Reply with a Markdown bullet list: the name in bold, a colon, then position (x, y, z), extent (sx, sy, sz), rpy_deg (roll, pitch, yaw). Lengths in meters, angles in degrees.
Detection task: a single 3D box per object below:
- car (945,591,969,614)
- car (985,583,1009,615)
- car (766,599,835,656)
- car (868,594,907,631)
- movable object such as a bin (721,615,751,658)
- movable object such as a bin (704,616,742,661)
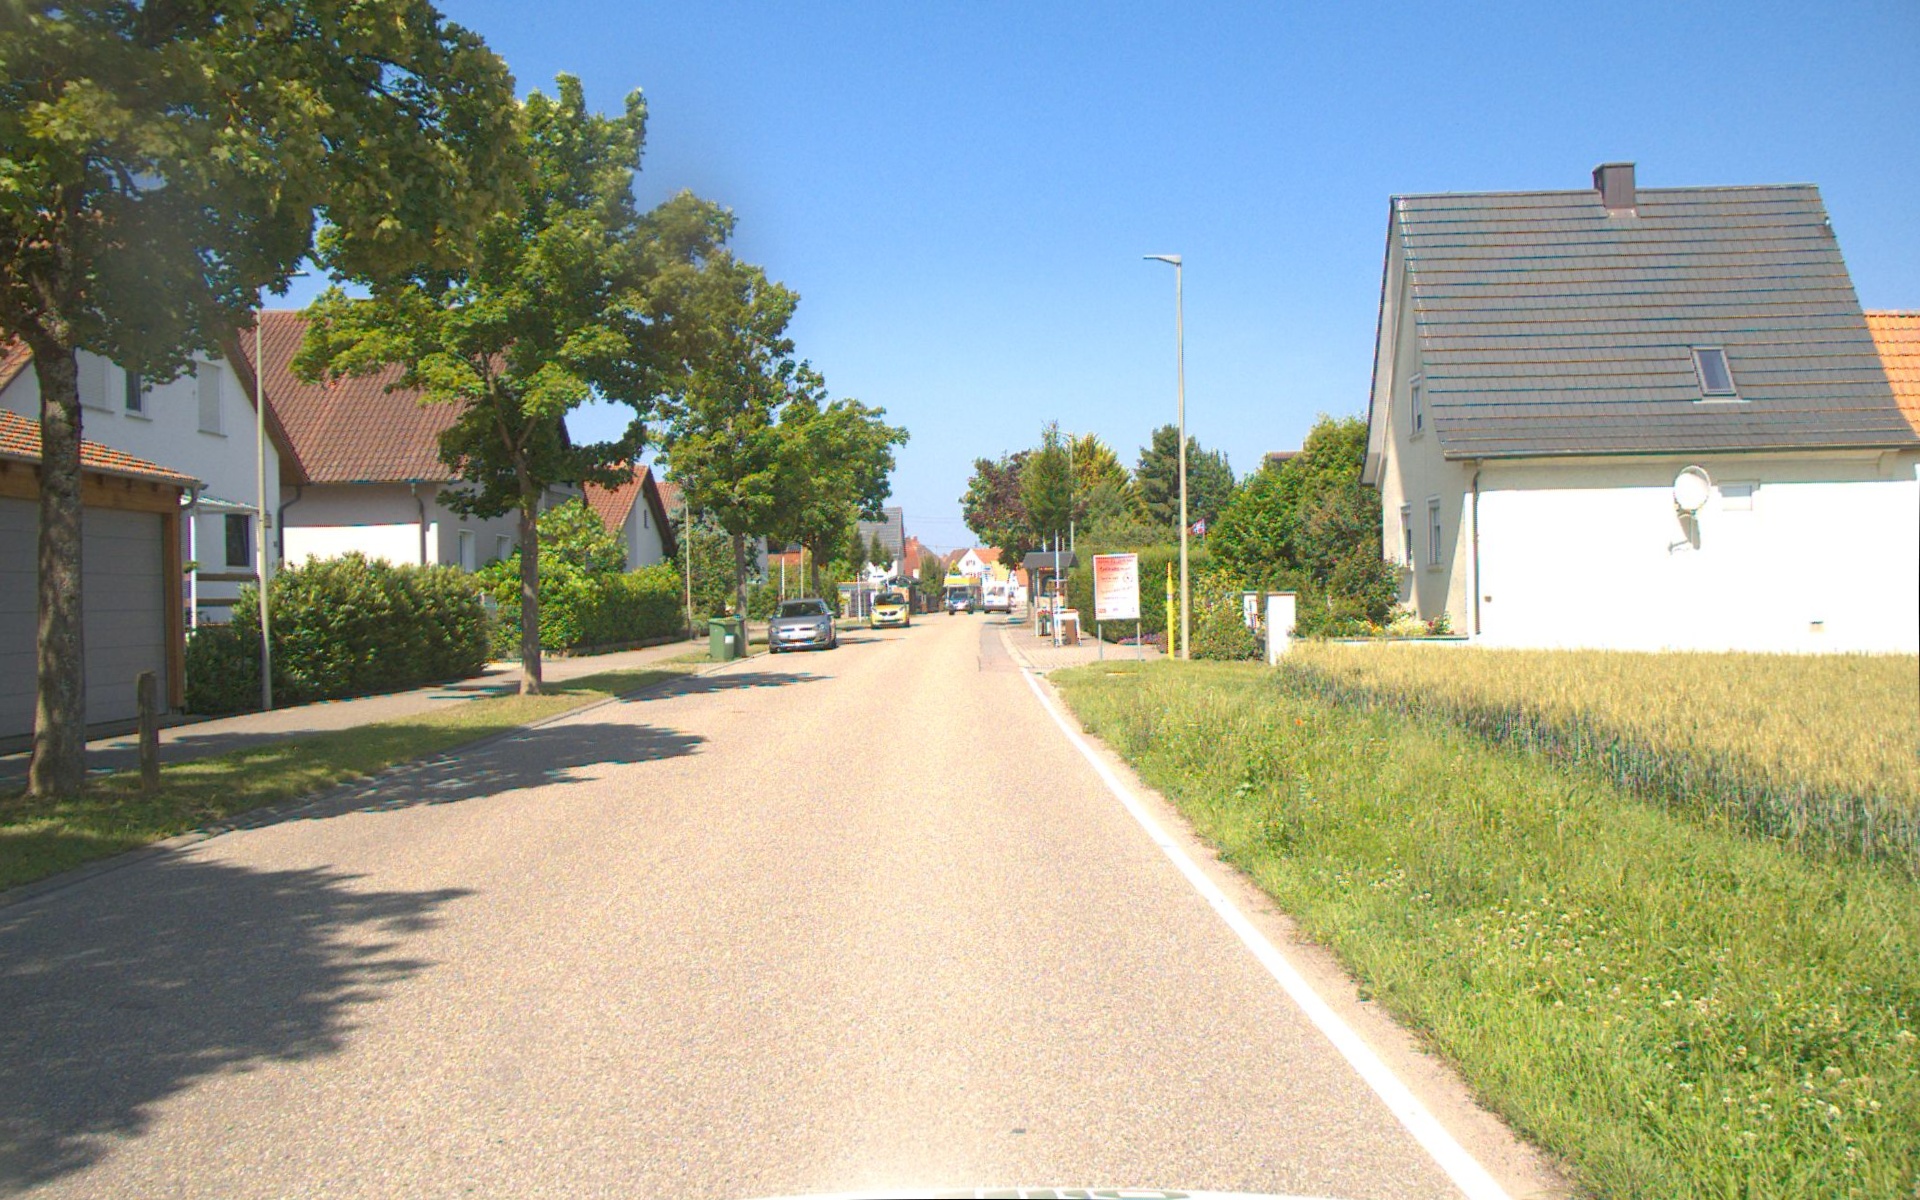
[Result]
- **car**: position (-0.234, 0.202, 133.728), extent (1.798, 1.783, 3.795), rpy_deg (-2, 0, -2)
- **car**: position (2.930, -0.109, 131.542), extent (1.702, 2.474, 4.374), rpy_deg (-2, 0, 0)
- **car**: position (-4.522, 0.756, 47.377), extent (1.614, 1.448, 4.079), rpy_deg (-3, 0, -2)
- **car**: position (-3.212, 0.535, 73.735), extent (1.632, 1.550, 3.441), rpy_deg (-2, 0, -2)
- **movable object such as a bin**: position (-5.770, 0.937, 42.637), extent (0.562, 1.097, 0.599), rpy_deg (-1, 0, 13)
- **movable object such as a bin**: position (-6.006, 0.978, 41.986), extent (0.699, 1.097, 0.639), rpy_deg (-1, 0, 25)
